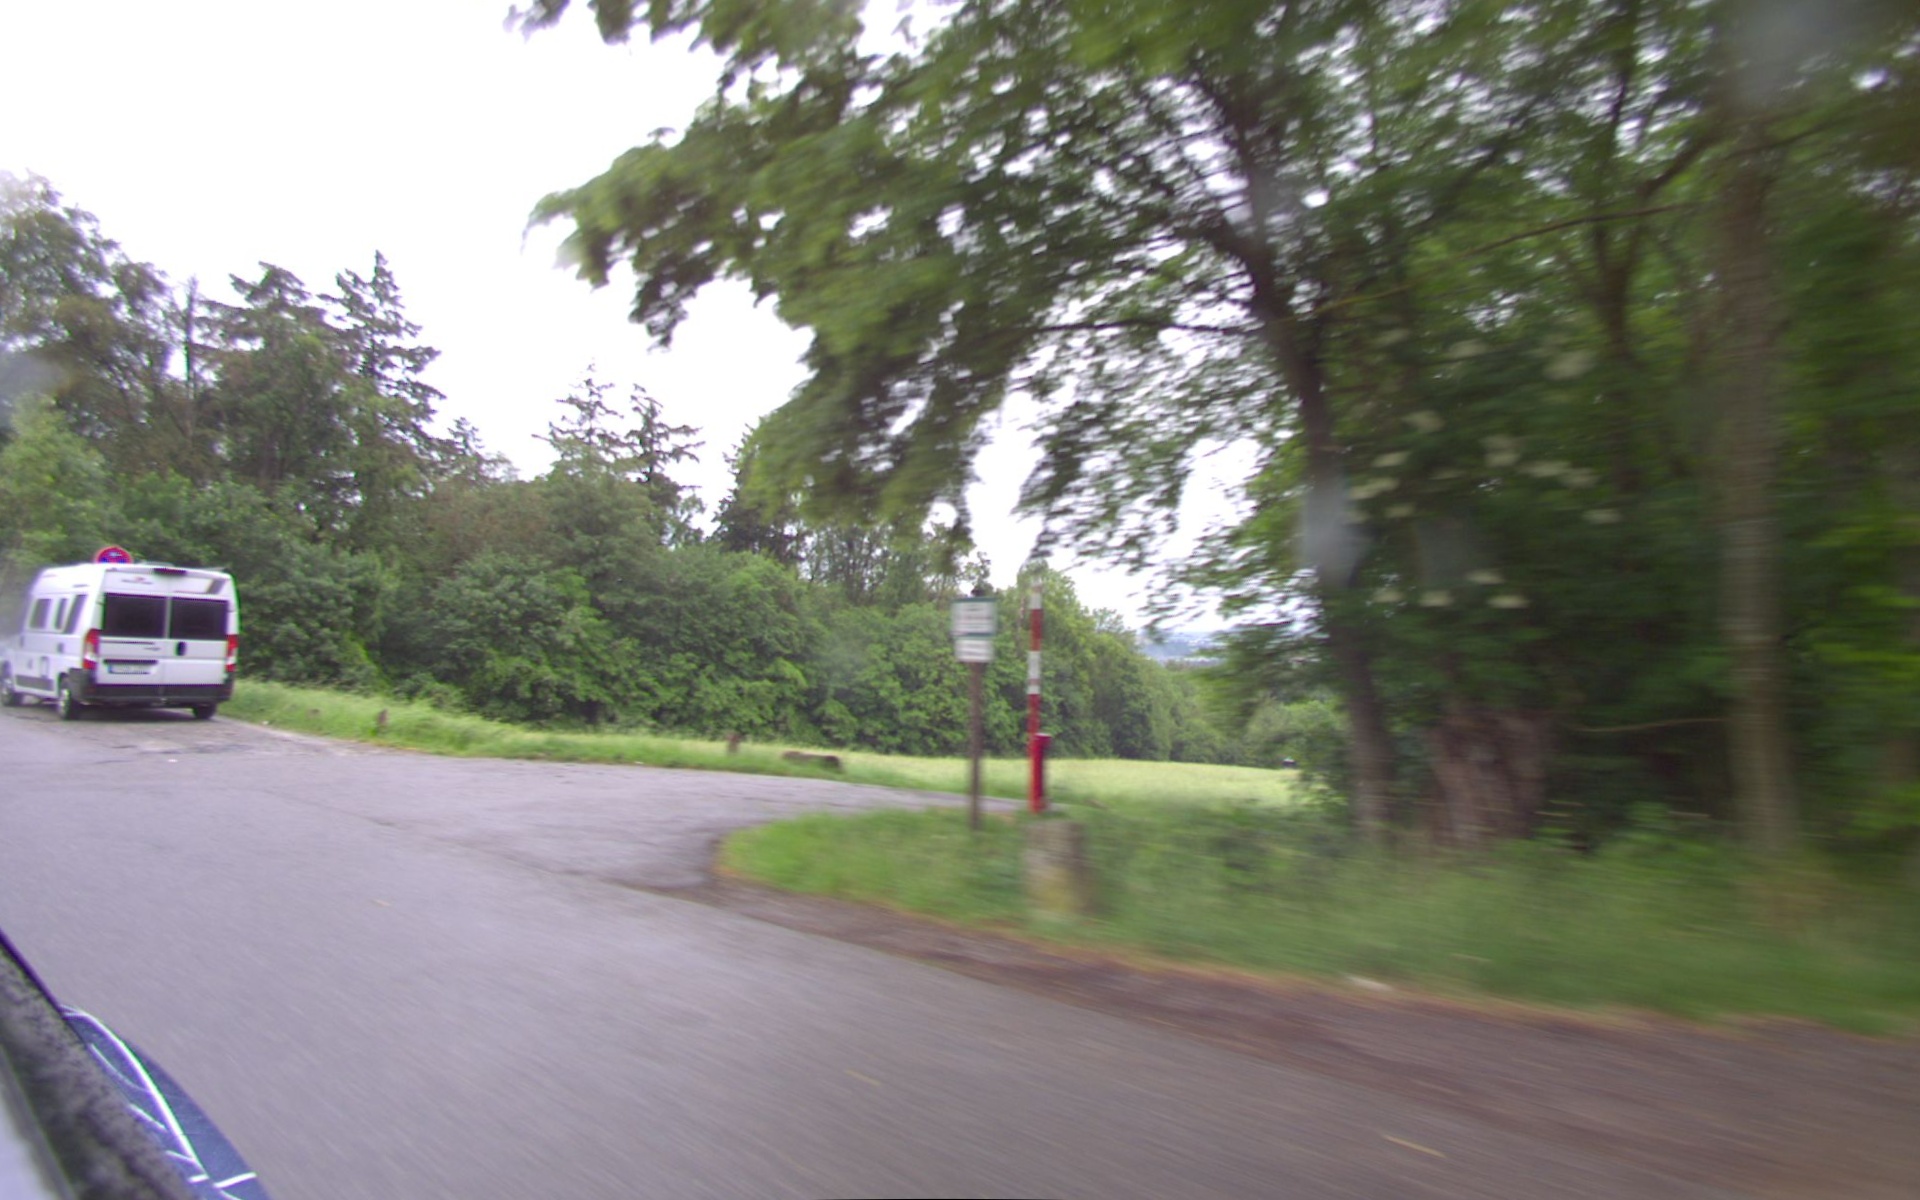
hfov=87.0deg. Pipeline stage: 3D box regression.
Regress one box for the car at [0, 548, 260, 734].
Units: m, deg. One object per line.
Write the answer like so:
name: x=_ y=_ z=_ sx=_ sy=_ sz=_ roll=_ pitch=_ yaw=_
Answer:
car: x=-14.732 y=0.785 z=17.413 sx=6.032 sy=2.718 sz=2.254 roll=-3 pitch=-6 yaw=34

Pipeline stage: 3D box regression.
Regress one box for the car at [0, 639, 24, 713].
car: x=-23.024 y=1.688 z=22.783 sx=4.483 sy=1.608 sz=1.845 roll=-3 pitch=-5 yaw=34
